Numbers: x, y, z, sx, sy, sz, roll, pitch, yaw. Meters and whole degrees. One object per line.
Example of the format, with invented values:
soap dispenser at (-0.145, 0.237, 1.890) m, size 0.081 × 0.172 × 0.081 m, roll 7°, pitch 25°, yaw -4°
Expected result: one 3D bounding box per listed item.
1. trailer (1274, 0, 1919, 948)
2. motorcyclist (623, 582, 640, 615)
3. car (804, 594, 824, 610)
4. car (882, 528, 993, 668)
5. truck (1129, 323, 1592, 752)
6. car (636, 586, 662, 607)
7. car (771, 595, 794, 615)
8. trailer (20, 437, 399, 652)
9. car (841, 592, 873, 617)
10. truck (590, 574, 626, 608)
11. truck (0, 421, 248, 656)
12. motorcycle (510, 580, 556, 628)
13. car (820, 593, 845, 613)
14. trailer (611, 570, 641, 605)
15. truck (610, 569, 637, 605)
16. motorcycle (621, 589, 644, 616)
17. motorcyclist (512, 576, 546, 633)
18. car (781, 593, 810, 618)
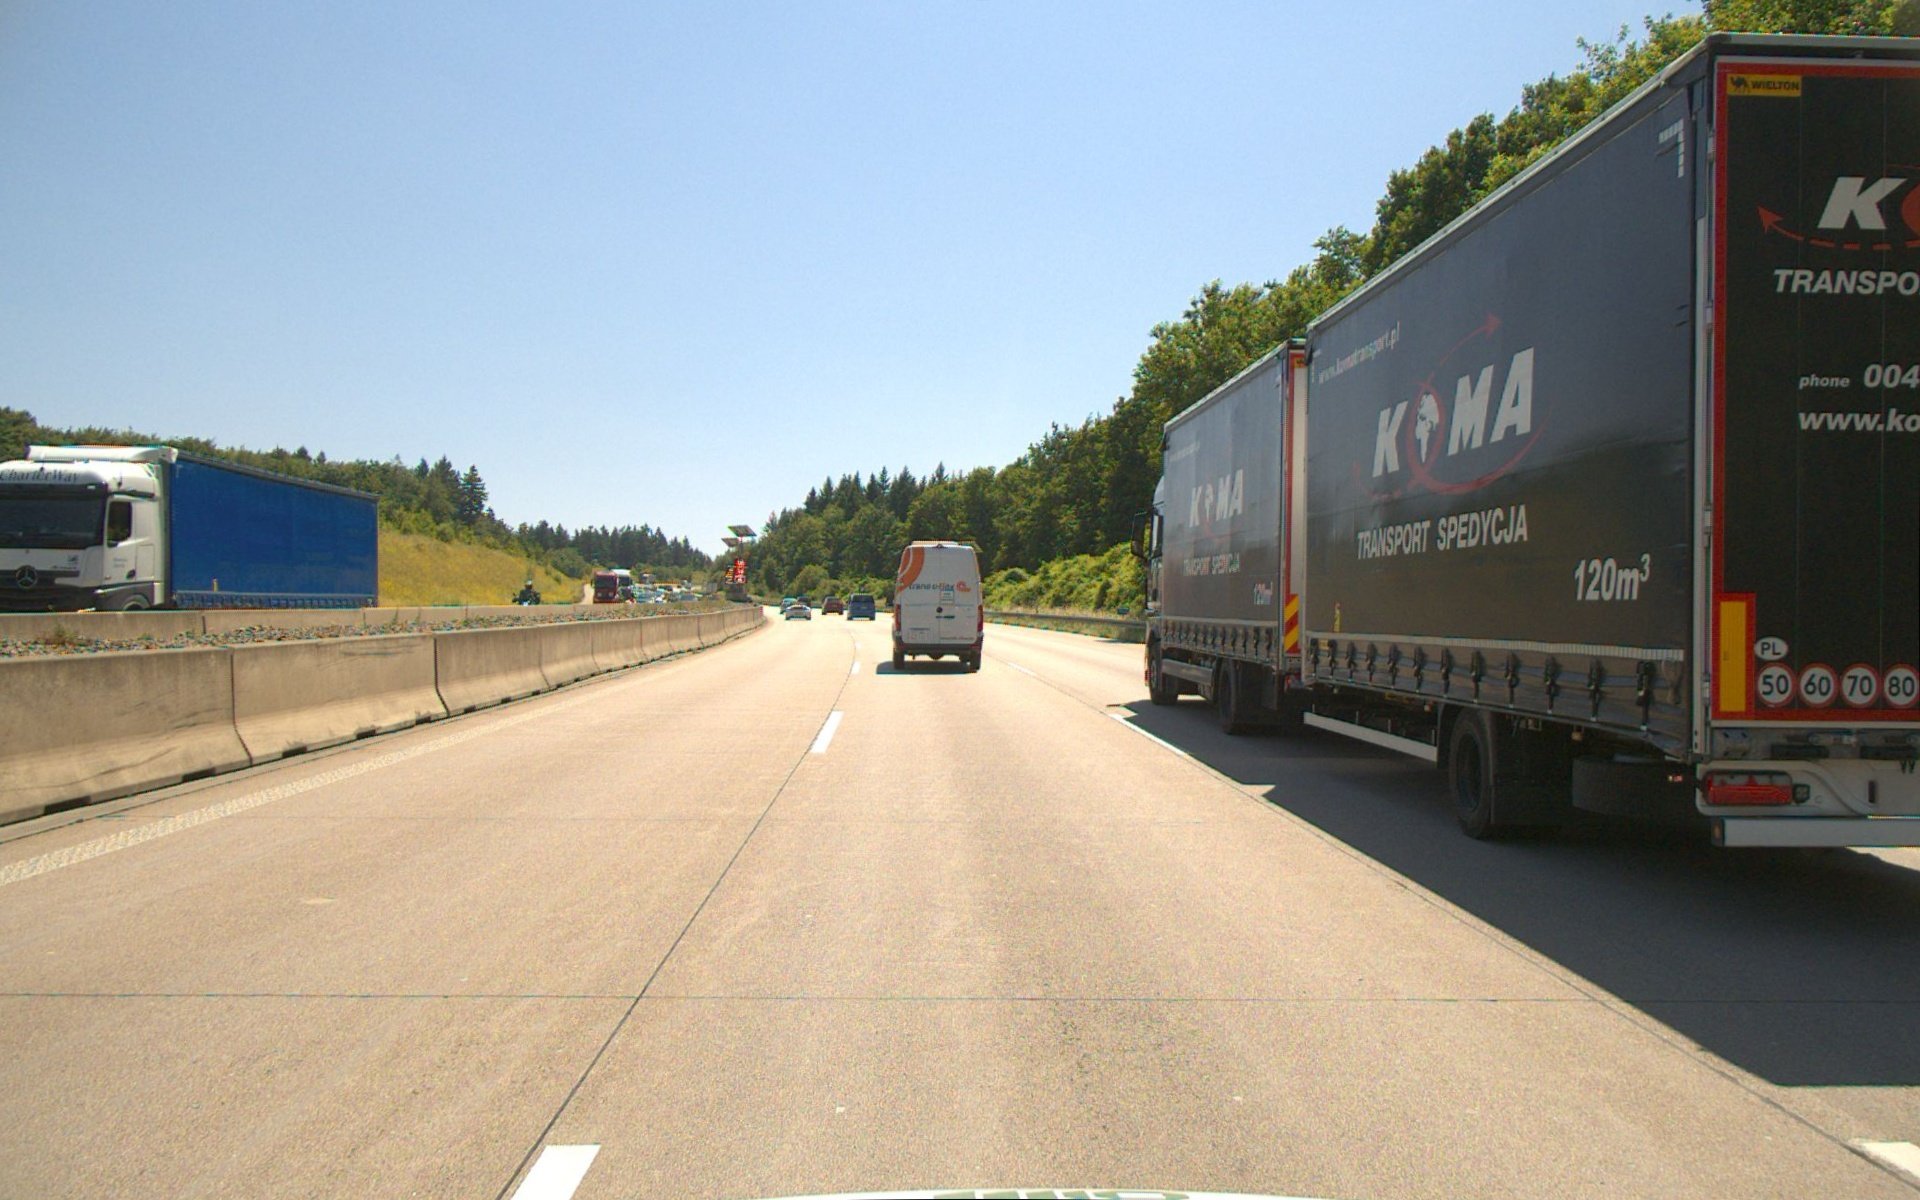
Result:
trailer at (4.684, -0.599, 11.368) m, size 3.071 × 4.087 × 9.085 m, roll 1°, pitch 0°, yaw -2°
motorcyclist at (-17.568, -0.059, 88.484) m, size 0.679 × 1.739 × 1.524 m, roll 1°, pitch 0°, yaw -2°
car at (-16.917, 0.280, 190.962) m, size 1.957 × 1.713 × 3.992 m, roll 3°, pitch -1°, yaw -9°
car at (-0.599, -0.074, 37.442) m, size 2.182 × 2.894 × 5.450 m, roll 1°, pitch 0°, yaw -4°
truck at (4.419, -0.594, 21.276) m, size 3.096 × 4.087 × 10.604 m, roll 1°, pitch 0°, yaw -2°
car at (-26.992, -0.301, 143.837) m, size 1.956 × 1.803 × 3.994 m, roll 0°, pitch 0°, yaw -7°
car at (-16.985, 0.472, 158.109) m, size 1.957 × 1.713 × 3.992 m, roll 3°, pitch -1°, yaw -9°
trailer at (-16.862, -1.022, 38.932) m, size 3.098 × 4.001 × 13.857 m, roll 3°, pitch -1°, yaw -3°
car at (-7.549, 0.335, 120.816) m, size 1.957 × 1.713 × 3.992 m, roll 3°, pitch -1°, yaw -9°
truck at (-35.658, -0.904, 167.551) m, size 2.878 × 3.271 × 5.895 m, roll 3°, pitch -1°, yaw -7°
truck at (-16.472, -1.070, 31.776) m, size 3.098 × 4.001 × 5.832 m, roll 3°, pitch -1°, yaw -3°
motorcycle at (-14.564, 0.121, 56.449) m, size 0.988 × 1.576 × 2.482 m, roll 1°, pitch 0°, yaw -2°
car at (-11.955, 0.278, 154.736) m, size 1.957 × 1.713 × 3.992 m, roll 3°, pitch -1°, yaw -9°
trailer at (-43.326, -1.564, 214.894) m, size 2.879 × 4.241 × 14.359 m, roll 3°, pitch -1°, yaw -9°
truck at (-42.270, -1.581, 207.884) m, size 2.879 × 4.241 × 5.749 m, roll 3°, pitch -1°, yaw -9°
motorcycle at (-17.539, 0.129, 88.605) m, size 0.808 × 1.396 × 2.356 m, roll 1°, pitch 0°, yaw -2°
motorcyclist at (-14.661, 0.161, 56.294) m, size 0.802 × 1.906 × 1.491 m, roll 1°, pitch 0°, yaw -2°
car at (-11.931, 0.415, 119.540) m, size 1.956 × 1.713 × 3.994 m, roll 3°, pitch -1°, yaw -7°
